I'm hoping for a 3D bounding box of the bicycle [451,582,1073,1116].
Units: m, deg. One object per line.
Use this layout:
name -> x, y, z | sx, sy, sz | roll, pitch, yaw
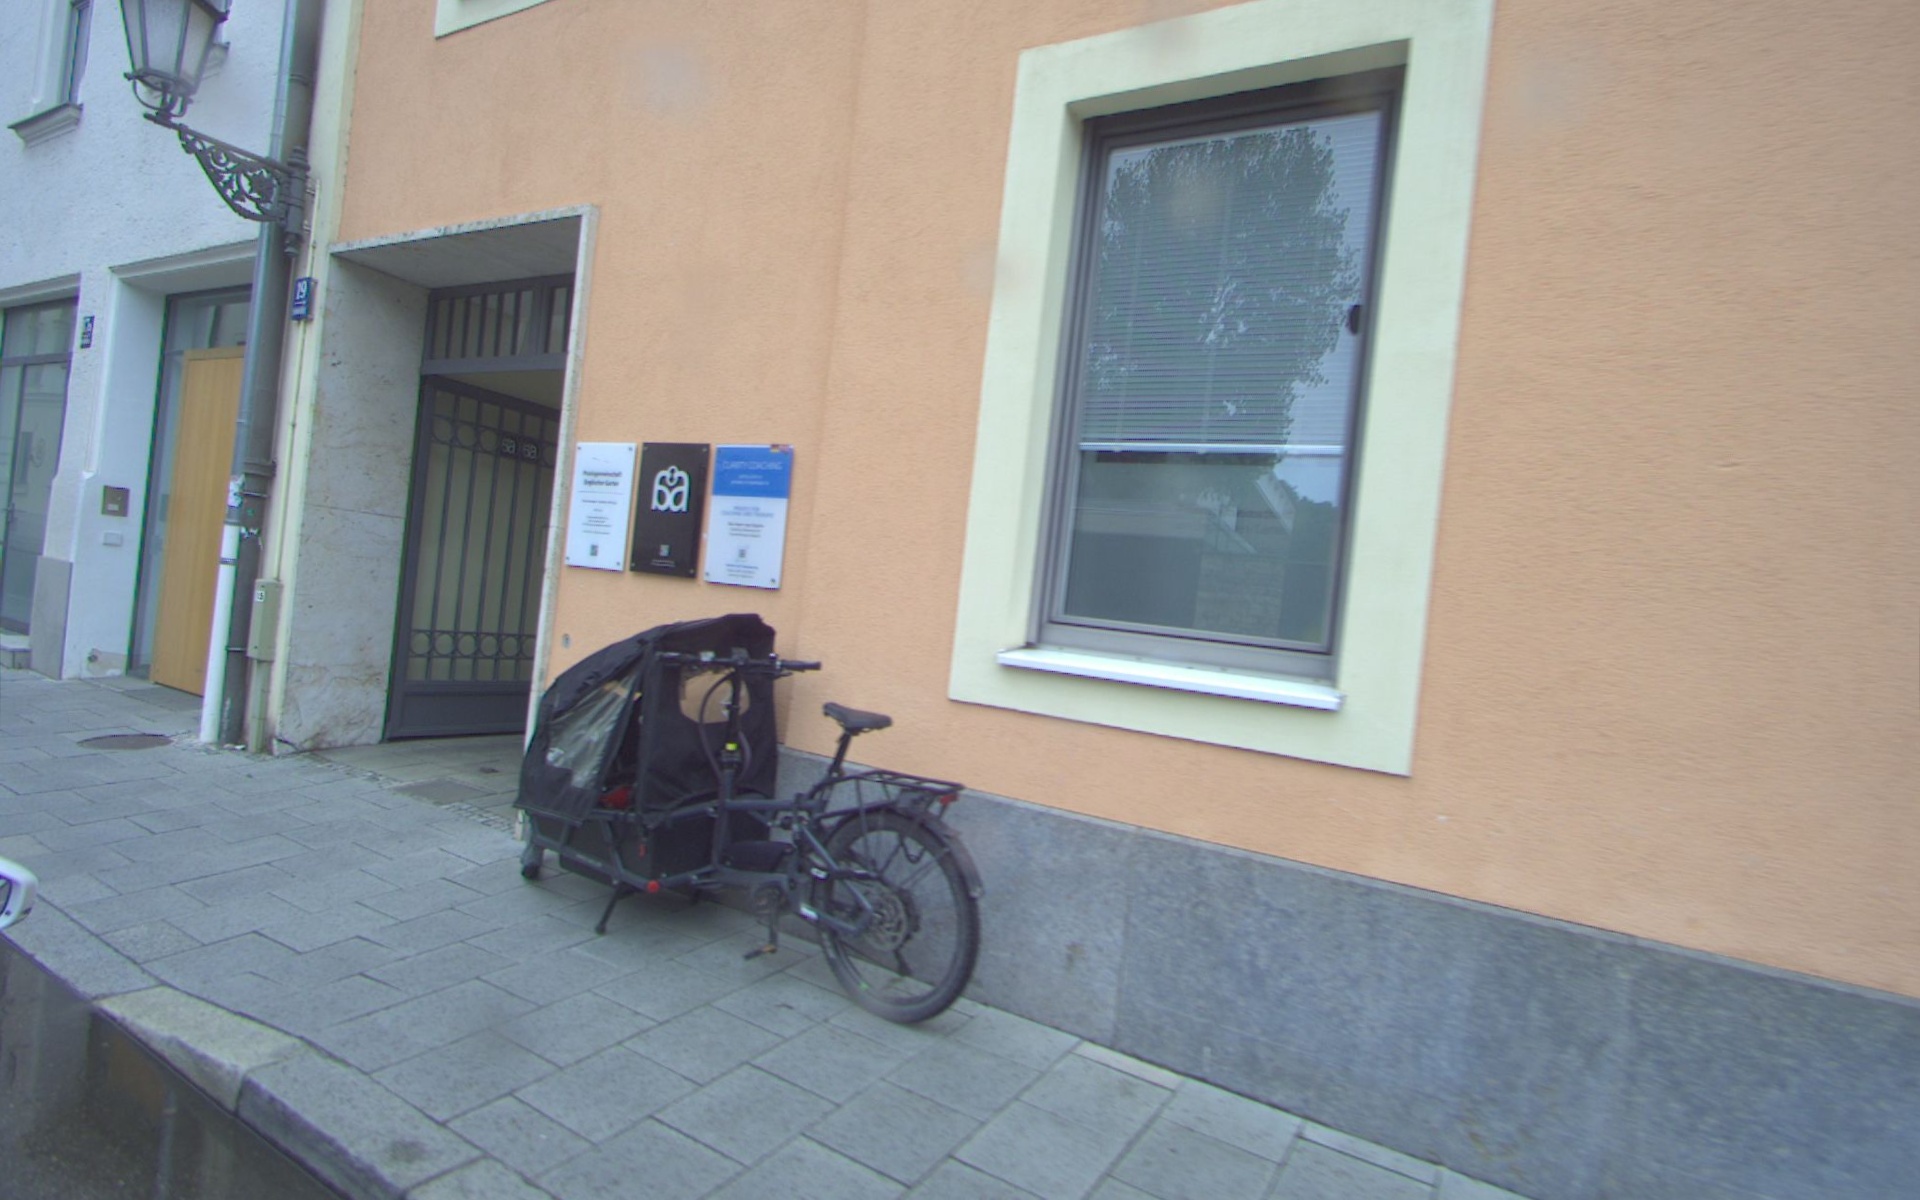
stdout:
bicycle -> -0.842, 0.676, 3.650 | 2.343, 1.258, 0.679 | 7, 5, 33
